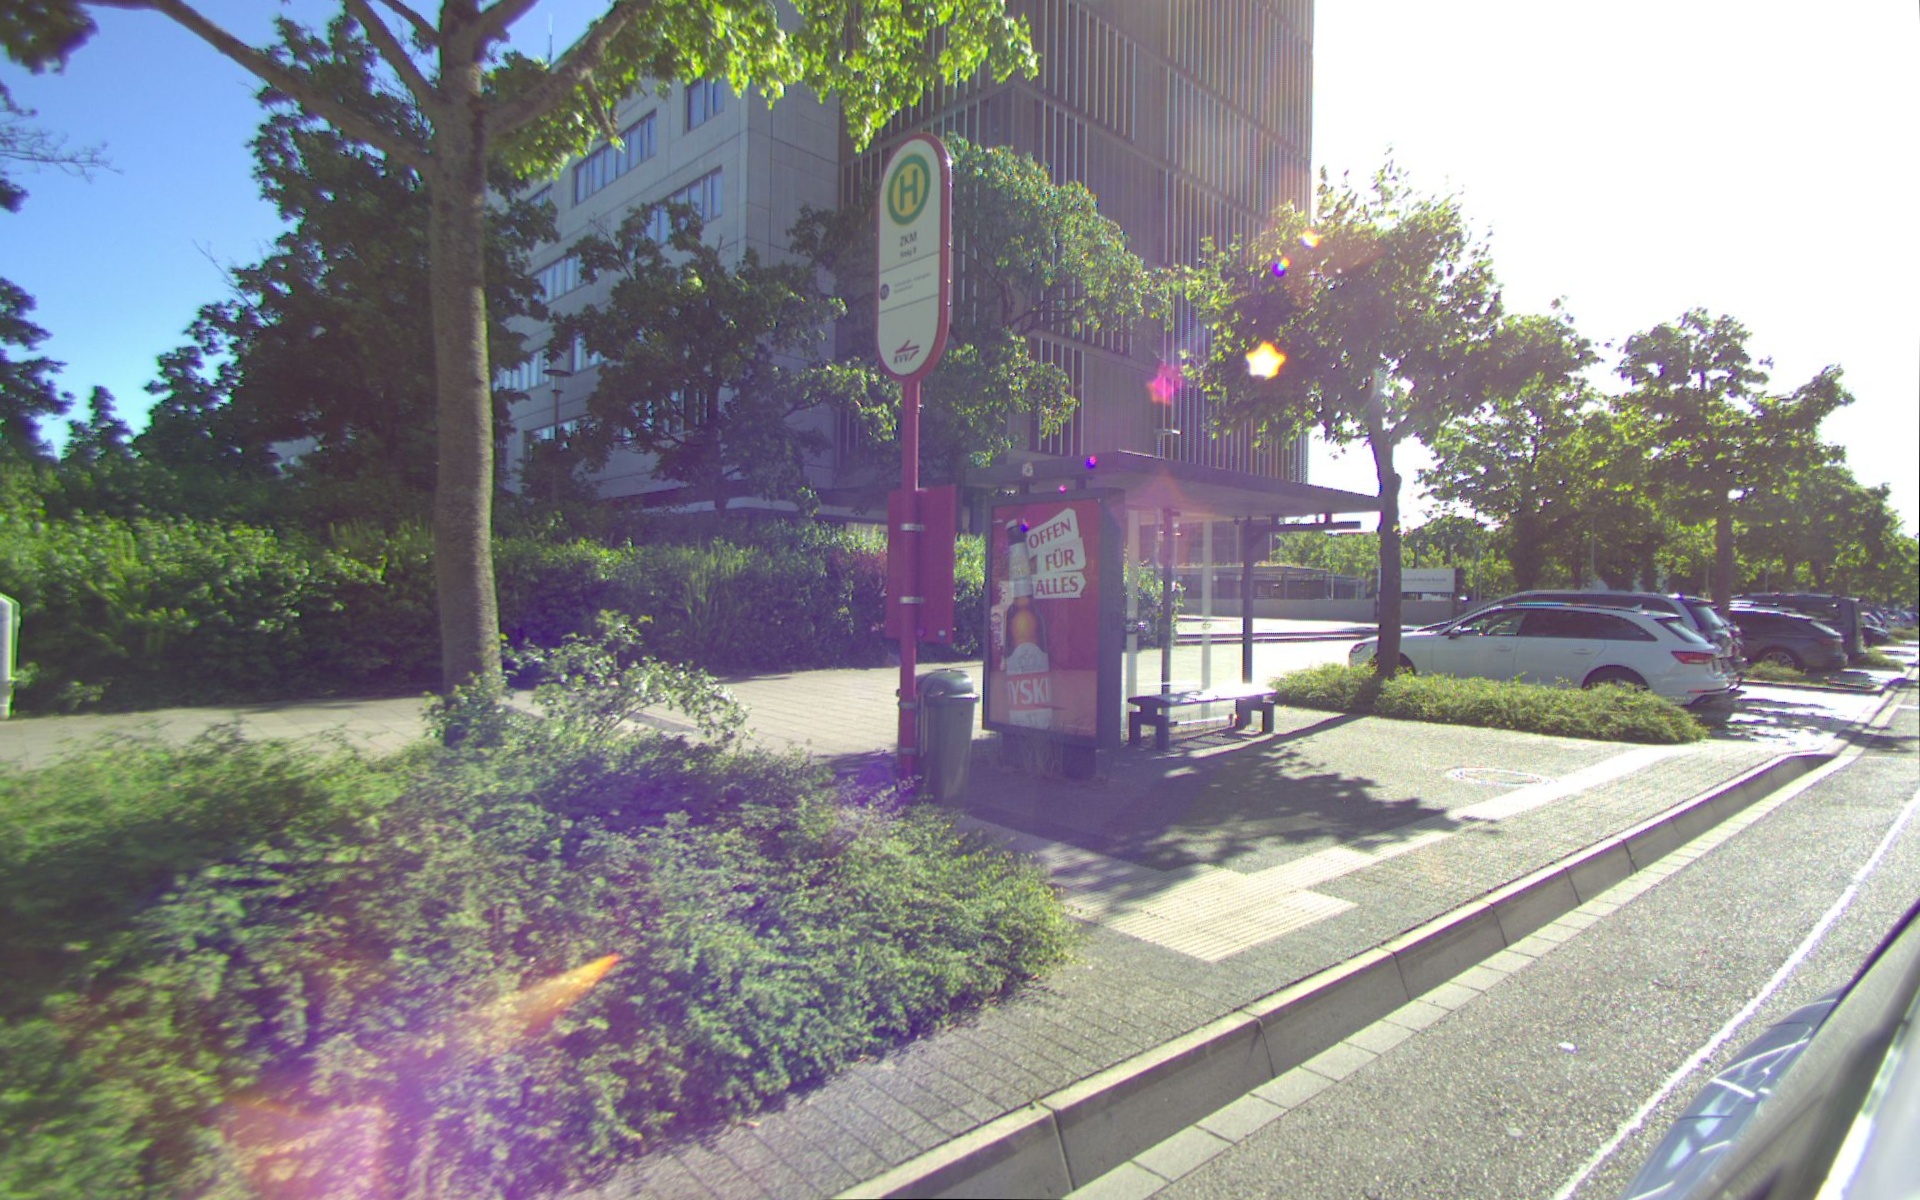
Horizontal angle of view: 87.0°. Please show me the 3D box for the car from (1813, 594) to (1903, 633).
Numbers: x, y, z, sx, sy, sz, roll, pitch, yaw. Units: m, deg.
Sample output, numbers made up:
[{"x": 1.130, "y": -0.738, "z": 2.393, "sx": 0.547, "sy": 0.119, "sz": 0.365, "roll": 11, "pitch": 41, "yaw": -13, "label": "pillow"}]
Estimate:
[{"x": 46.460, "y": 0.668, "z": 52.381, "sx": 1.669, "sy": 1.912, "sz": 3.384, "roll": 0, "pitch": 1, "yaw": -44, "label": "car"}]

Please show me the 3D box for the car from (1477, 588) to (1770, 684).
[{"x": 12.576, "y": 0.600, "z": 19.388, "sx": 1.845, "sy": 1.555, "sz": 4.406, "roll": 0, "pitch": 1, "yaw": -44, "label": "car"}]

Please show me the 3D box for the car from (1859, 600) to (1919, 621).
[{"x": 67.662, "y": 0.759, "z": 73.262, "sx": 1.649, "sy": 1.444, "sz": 3.710, "roll": 0, "pitch": 1, "yaw": -44, "label": "car"}]

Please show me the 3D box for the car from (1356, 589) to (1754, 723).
[{"x": 8.042, "y": 0.633, "z": 13.991, "sx": 1.864, "sy": 1.481, "sz": 4.406, "roll": 0, "pitch": 1, "yaw": -44, "label": "car"}]

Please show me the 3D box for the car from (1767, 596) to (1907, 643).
[{"x": 33.339, "y": 0.710, "z": 38.545, "sx": 3.952, "sy": 1.620, "sz": 1.649, "roll": 2, "pitch": 1, "yaw": 44, "label": "car"}]

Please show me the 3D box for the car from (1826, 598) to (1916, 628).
[{"x": 51.338, "y": 0.701, "z": 57.071, "sx": 1.649, "sy": 1.544, "sz": 3.710, "roll": 0, "pitch": 1, "yaw": -44, "label": "car"}]

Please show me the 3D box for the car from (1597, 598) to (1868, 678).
[{"x": 16.583, "y": 0.734, "z": 21.886, "sx": 2.040, "sy": 1.427, "sz": 4.406, "roll": 0, "pitch": 1, "yaw": -44, "label": "car"}]

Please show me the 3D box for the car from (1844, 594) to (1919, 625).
[{"x": 53.580, "y": 0.540, "z": 58.449, "sx": 1.649, "sy": 1.692, "sz": 3.710, "roll": 0, "pitch": 1, "yaw": -44, "label": "car"}]

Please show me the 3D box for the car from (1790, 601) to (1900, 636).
[{"x": 41.355, "y": 0.836, "z": 47.326, "sx": 1.703, "sy": 1.444, "sz": 3.754, "roll": 0, "pitch": 1, "yaw": -44, "label": "car"}]

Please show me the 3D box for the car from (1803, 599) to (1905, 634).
[{"x": 44.601, "y": 0.804, "z": 50.544, "sx": 1.649, "sy": 1.586, "sz": 3.710, "roll": 0, "pitch": 1, "yaw": -44, "label": "car"}]

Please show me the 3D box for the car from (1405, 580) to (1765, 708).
[{"x": 9.596, "y": 0.559, "z": 15.791, "sx": 2.040, "sy": 1.661, "sz": 4.406, "roll": 0, "pitch": 1, "yaw": -44, "label": "car"}]

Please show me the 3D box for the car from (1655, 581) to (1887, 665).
[{"x": 20.672, "y": 0.514, "z": 25.908, "sx": 2.040, "sy": 1.916, "sz": 4.406, "roll": 0, "pitch": 1, "yaw": -44, "label": "car"}]

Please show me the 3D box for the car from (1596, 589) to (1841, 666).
[{"x": 17.950, "y": 0.584, "z": 24.104, "sx": 2.040, "sy": 1.577, "sz": 4.406, "roll": 0, "pitch": 1, "yaw": -44, "label": "car"}]
